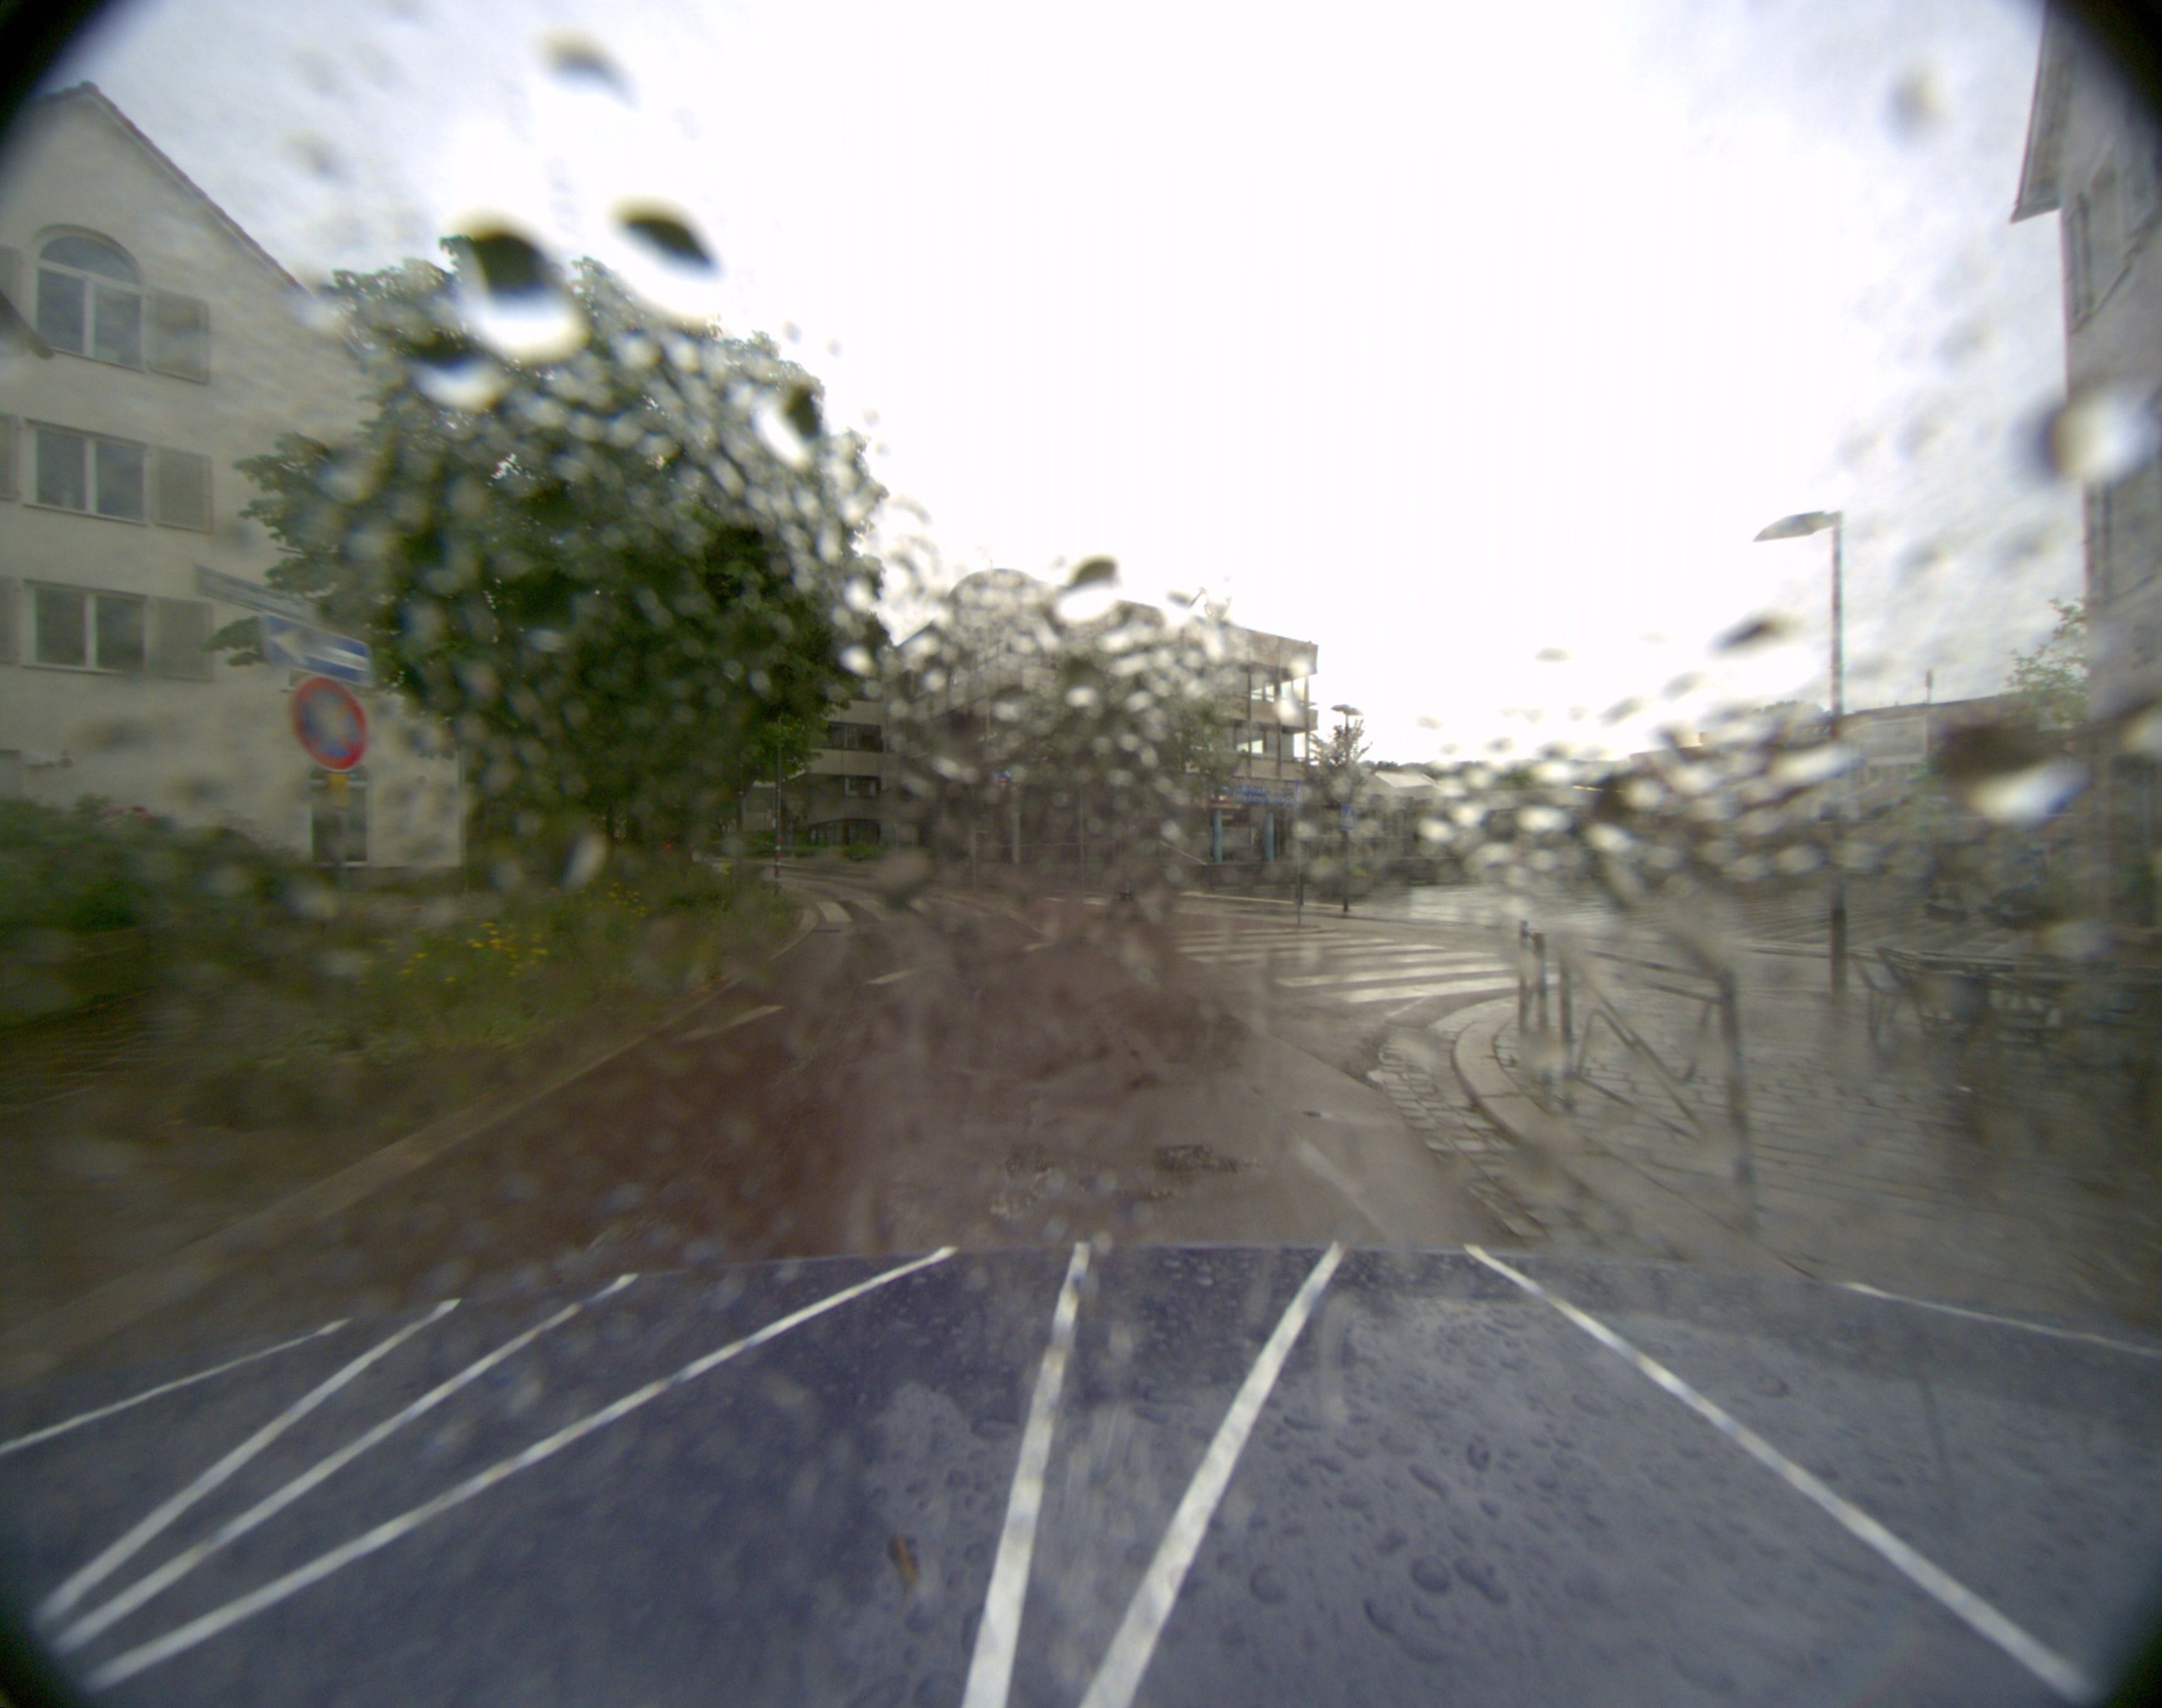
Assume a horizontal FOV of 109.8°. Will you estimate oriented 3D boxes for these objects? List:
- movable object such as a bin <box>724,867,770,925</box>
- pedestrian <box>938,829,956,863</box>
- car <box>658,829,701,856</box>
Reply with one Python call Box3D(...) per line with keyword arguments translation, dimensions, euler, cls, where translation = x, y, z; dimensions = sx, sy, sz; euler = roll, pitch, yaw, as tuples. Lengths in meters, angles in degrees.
Box3D(translation=(-6.891, 0.846, 15.675), dimensions=(0.741, 1.118, 0.648), euler=(-1, 2, -34), cls="movable object such as a bin")
Box3D(translation=(-7.343, -0.457, 41.647), dimensions=(0.837, 1.820, 0.814), euler=(-1, 3, -7), cls="pedestrian")
Box3D(translation=(-28.558, -0.840, 54.003), dimensions=(1.872, 1.820, 4.172), euler=(0, 1, -39), cls="car")
